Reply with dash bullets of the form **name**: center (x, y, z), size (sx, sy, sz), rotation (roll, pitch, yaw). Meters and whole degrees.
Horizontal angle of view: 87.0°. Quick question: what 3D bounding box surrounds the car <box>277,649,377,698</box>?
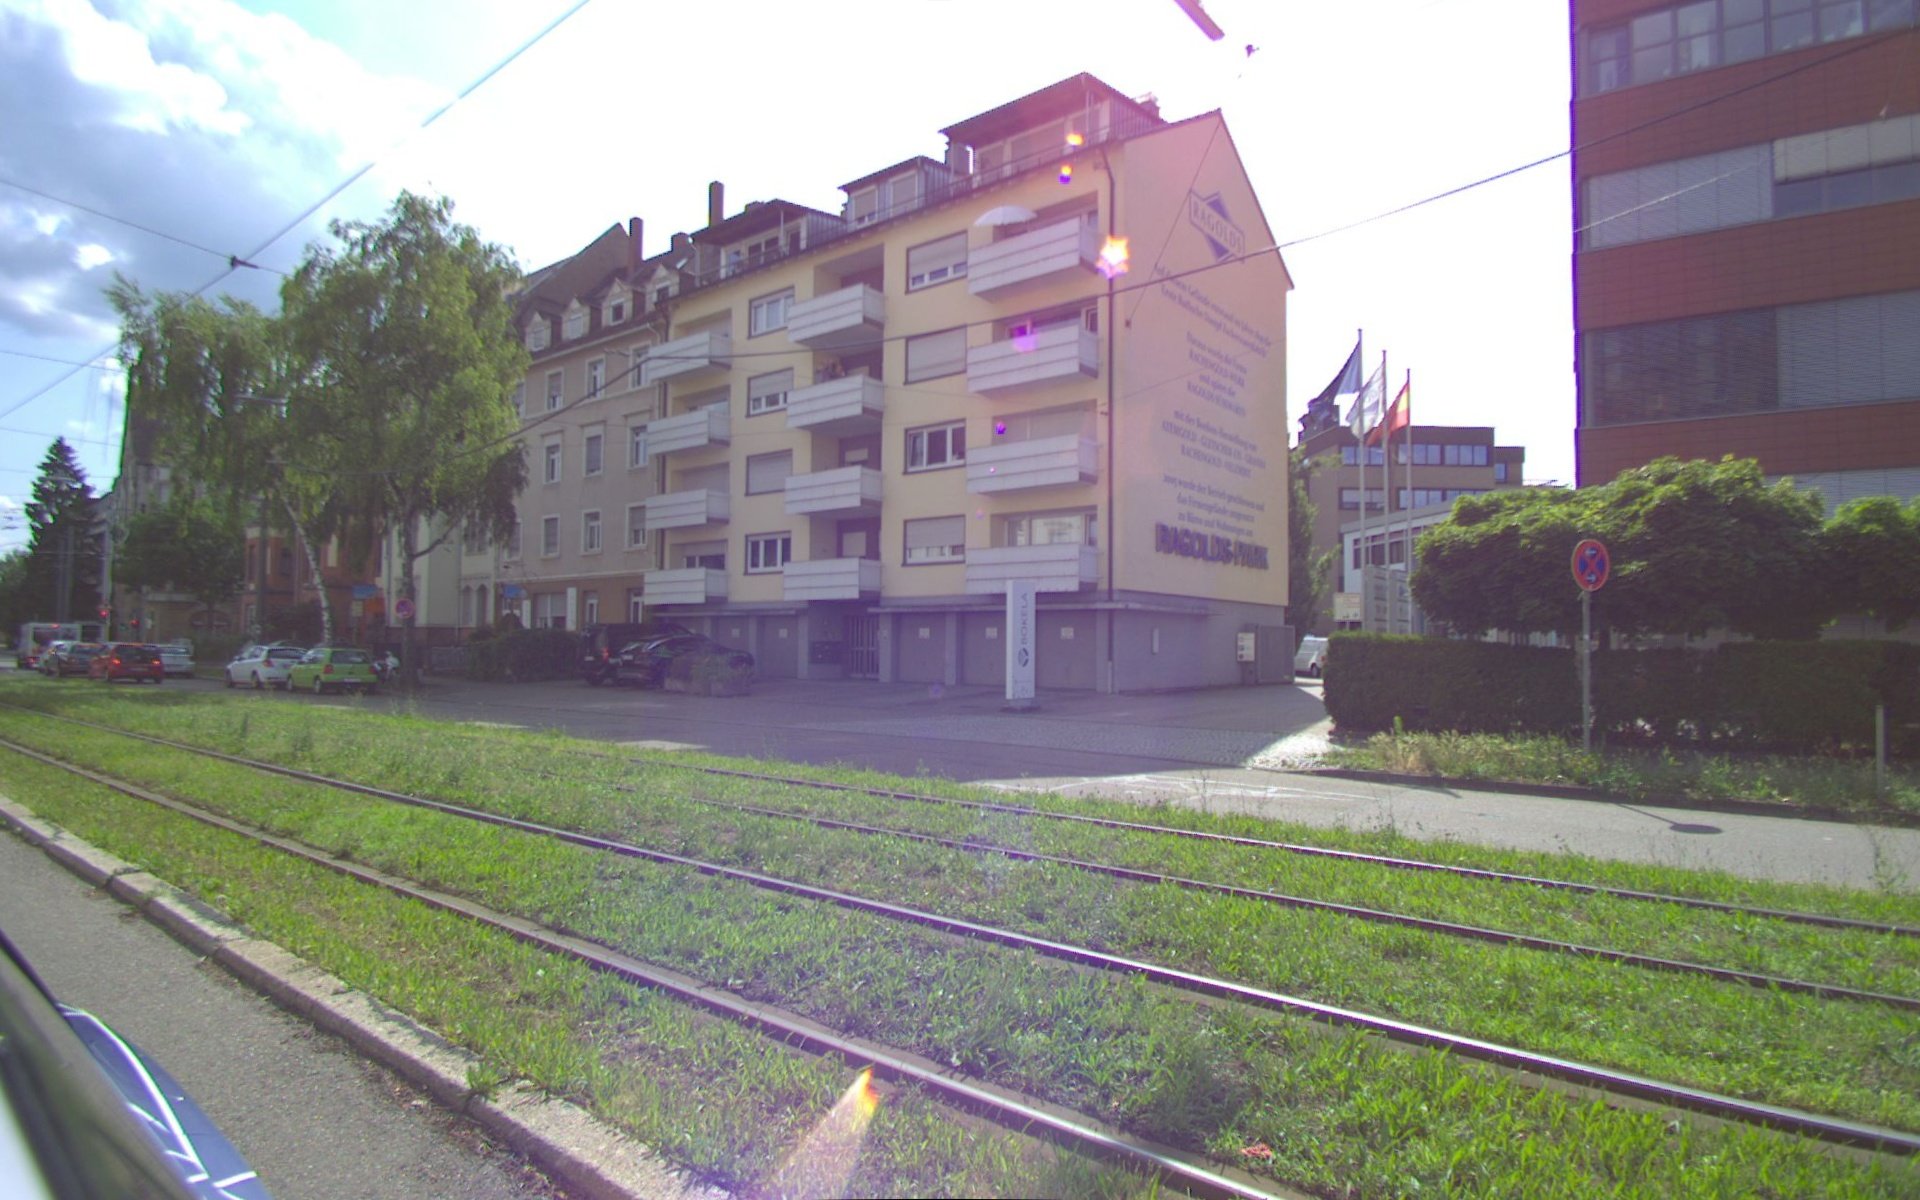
- **car**: center (-19.870, 2.263, 31.723), size (3.611, 1.443, 1.578), rotation (-2, -4, 40)

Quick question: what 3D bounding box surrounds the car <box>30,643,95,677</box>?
- **car**: center (-40.439, 2.695, 45.573), size (4.134, 1.425, 1.736), rotation (-2, -5, 43)

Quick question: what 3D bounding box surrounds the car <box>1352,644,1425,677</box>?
- **car**: center (22.858, 3.218, 54.148), size (1.743, 1.708, 4.007), rotation (1, -3, -8)

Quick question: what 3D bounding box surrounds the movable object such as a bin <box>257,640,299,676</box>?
- **movable object such as a bin**: center (-28.054, 2.390, 41.629), size (1.519, 1.377, 0.942), rotation (-2, 1, 38)

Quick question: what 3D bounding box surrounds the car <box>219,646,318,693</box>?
- **car**: center (-23.667, 2.344, 34.576), size (4.221, 1.489, 1.628), rotation (-2, -5, 39)

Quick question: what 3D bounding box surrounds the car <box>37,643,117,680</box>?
- **car**: center (-35.756, 2.489, 40.937), size (4.509, 1.366, 1.737), rotation (-2, -5, 41)

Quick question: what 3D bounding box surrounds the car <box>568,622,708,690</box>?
- **car**: center (-10.512, 1.774, 33.224), size (1.936, 2.029, 3.944), rotation (-2, -2, 42)

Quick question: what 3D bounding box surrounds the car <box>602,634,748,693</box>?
- **car**: center (-8.761, 1.900, 31.302), size (1.970, 1.614, 3.948), rotation (-2, -2, 39)

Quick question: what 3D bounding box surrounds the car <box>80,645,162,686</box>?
- **car**: center (-30.258, 2.332, 36.470), size (3.689, 1.397, 1.563), rotation (-2, -4, 39)

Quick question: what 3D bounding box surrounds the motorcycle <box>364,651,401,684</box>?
- **motorcycle**: center (-19.688, 2.296, 34.490), size (1.630, 1.050, 0.494), rotation (-1, 1, 38)

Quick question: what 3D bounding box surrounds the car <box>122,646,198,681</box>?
- **car**: center (-34.082, 2.683, 43.096), size (3.992, 1.366, 1.737), rotation (-2, -4, 40)

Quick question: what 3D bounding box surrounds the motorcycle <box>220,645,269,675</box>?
- **motorcycle**: center (-30.456, 2.540, 43.089), size (2.288, 1.252, 0.893), rotation (-2, -3, 33)

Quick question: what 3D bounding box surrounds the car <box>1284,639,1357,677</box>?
- **car**: center (18.168, 2.909, 51.165), size (1.743, 1.827, 4.007), rotation (1, -3, -8)

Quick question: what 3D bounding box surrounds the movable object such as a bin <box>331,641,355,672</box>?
- **movable object such as a bin**: center (-27.552, 2.535, 45.185), size (0.698, 1.372, 0.667), rotation (-2, -3, 35)

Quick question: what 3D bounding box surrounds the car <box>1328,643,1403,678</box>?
- **car**: center (20.827, 3.084, 52.170), size (1.743, 1.708, 4.007), rotation (1, -3, -8)

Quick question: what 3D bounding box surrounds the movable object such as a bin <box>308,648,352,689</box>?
- **movable object such as a bin**: center (-23.203, 2.489, 37.265), size (1.519, 1.441, 0.942), rotation (-2, -1, 38)

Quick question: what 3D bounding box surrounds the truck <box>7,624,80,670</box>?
- **truck**: center (-47.238, 2.446, 52.112), size (6.612, 2.231, 2.161), rotation (-2, -5, 43)
